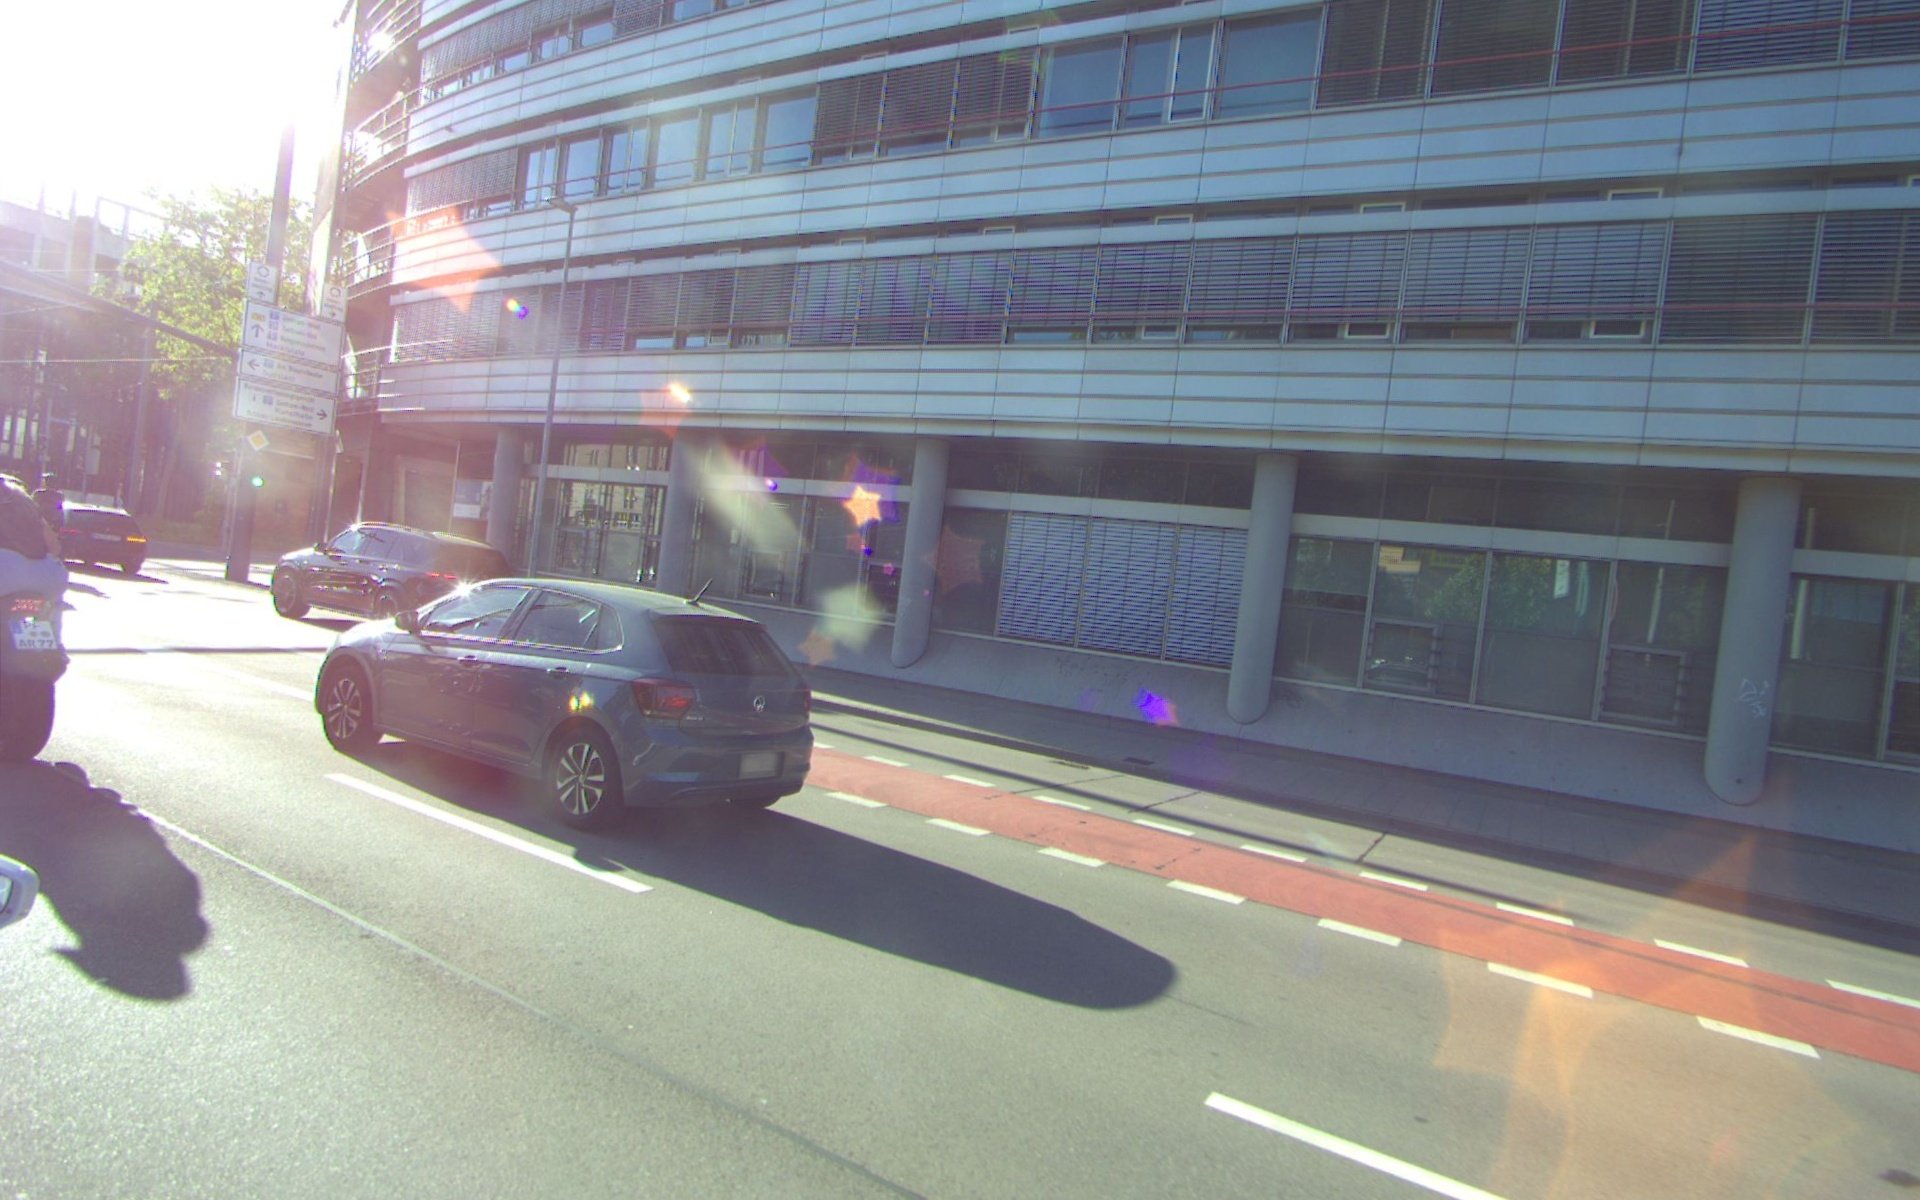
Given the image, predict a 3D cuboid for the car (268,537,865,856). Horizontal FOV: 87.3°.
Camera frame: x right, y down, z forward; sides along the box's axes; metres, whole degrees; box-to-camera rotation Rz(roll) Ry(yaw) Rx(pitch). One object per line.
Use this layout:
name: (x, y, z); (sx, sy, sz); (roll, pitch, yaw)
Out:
car: (-2.905, 0.557, 7.320); (3.931, 1.474, 1.812); (7, -1, 28)

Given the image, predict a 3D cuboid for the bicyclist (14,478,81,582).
bicyclist: (-17.015, -1.309, 18.761); (0.849, 1.813, 0.578); (7, 1, 31)

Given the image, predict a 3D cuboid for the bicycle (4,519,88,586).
bicycle: (-17.064, -0.900, 18.766); (2.289, 1.010, 0.492); (7, 1, 32)

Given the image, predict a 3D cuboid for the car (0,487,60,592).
car: (-15.854, -1.148, 15.467); (3.933, 1.474, 1.811); (7, -1, 31)

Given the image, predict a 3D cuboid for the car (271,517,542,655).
car: (-9.409, -0.246, 17.038); (4.255, 1.771, 1.997); (7, 0, 30)

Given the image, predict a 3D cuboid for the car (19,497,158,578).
car: (-20.366, -1.476, 23.688); (1.984, 1.436, 3.960); (10, -2, -36)

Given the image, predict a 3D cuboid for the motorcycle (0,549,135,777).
motorcycle: (-5.822, 0.296, 6.011); (1.937, 1.129, 0.776); (7, 0, 34)

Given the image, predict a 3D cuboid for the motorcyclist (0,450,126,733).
motorcyclist: (-5.599, -0.079, 5.887); (1.004, 1.549, 0.745); (7, 1, 34)
